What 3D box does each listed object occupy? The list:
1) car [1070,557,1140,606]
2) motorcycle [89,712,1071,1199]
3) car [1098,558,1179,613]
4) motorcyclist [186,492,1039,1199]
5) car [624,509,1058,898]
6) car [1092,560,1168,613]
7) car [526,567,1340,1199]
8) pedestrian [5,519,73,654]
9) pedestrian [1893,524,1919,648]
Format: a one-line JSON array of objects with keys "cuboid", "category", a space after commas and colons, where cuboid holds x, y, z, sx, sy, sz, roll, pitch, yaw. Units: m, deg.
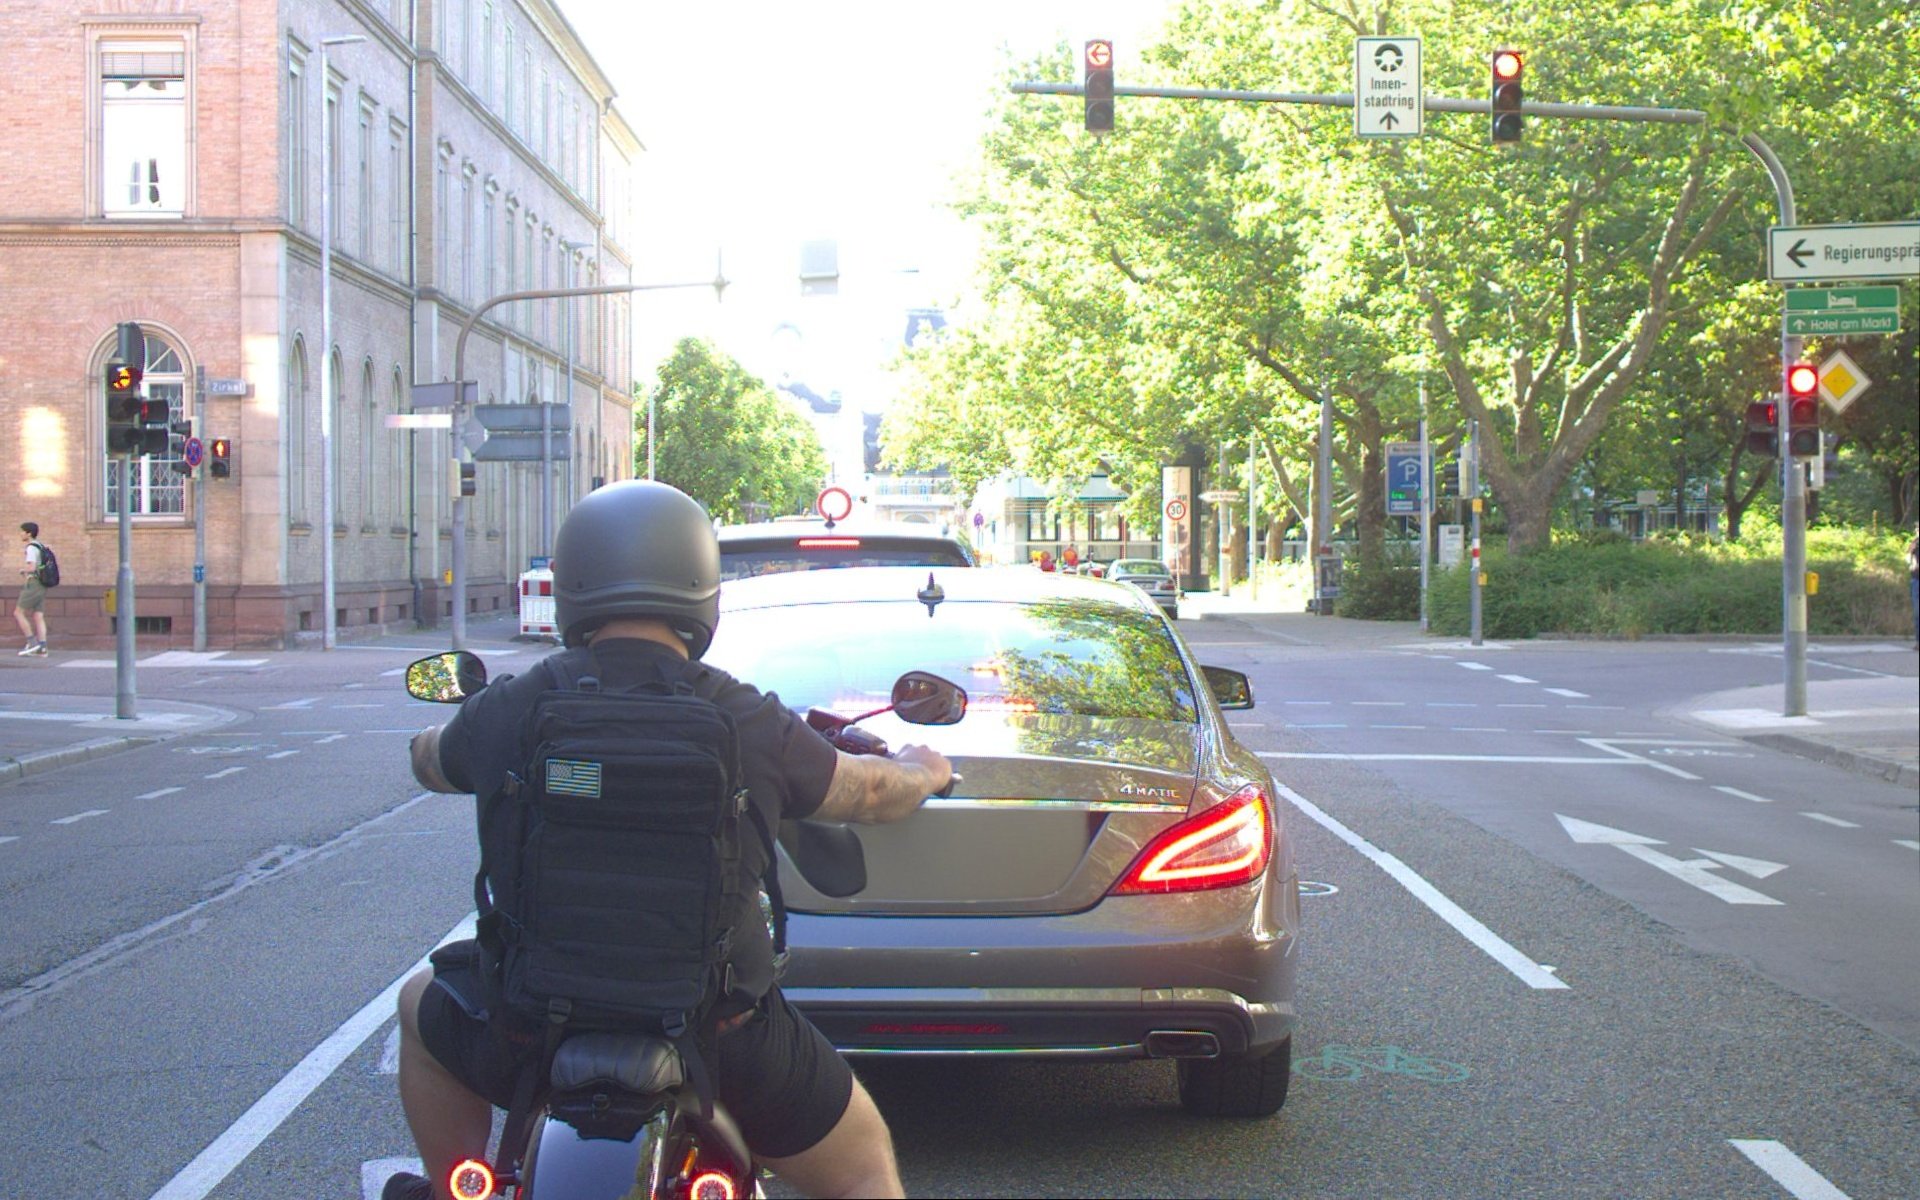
[{"cuboid": [3.836, -0.506, 91.465, 1.631, 1.255, 3.716, 1, 1, -1], "category": "car"}, {"cuboid": [-0.465, 0.836, 5.511, 1.118, 1.203, 2.212, 1, 1, 6], "category": "motorcycle"}, {"cuboid": [4.167, -0.348, 80.647, 1.631, 1.255, 3.716, 1, 1, -1], "category": "car"}, {"cuboid": [-0.479, 0.633, 5.287, 1.099, 1.560, 1.071, 1, 0, 6], "category": "motorcyclist"}, {"cuboid": [-0.540, 0.431, 16.953, 1.863, 1.672, 4.000, 1, 1, -1], "category": "car"}, {"cuboid": [4.194, -0.347, 85.123, 1.631, 1.255, 3.716, 1, 1, -1], "category": "car"}, {"cuboid": [-0.082, 0.638, 9.675, 1.822, 1.432, 3.806, 1, 1, -1], "category": "car"}, {"cuboid": [-12.546, -0.184, 46.820, 0.738, 1.814, 0.643, 1, 0, -1], "category": "pedestrian"}, {"cuboid": [13.880, -0.202, 49.382, 0.737, 1.772, 0.728, 1, 0, 30], "category": "pedestrian"}]
